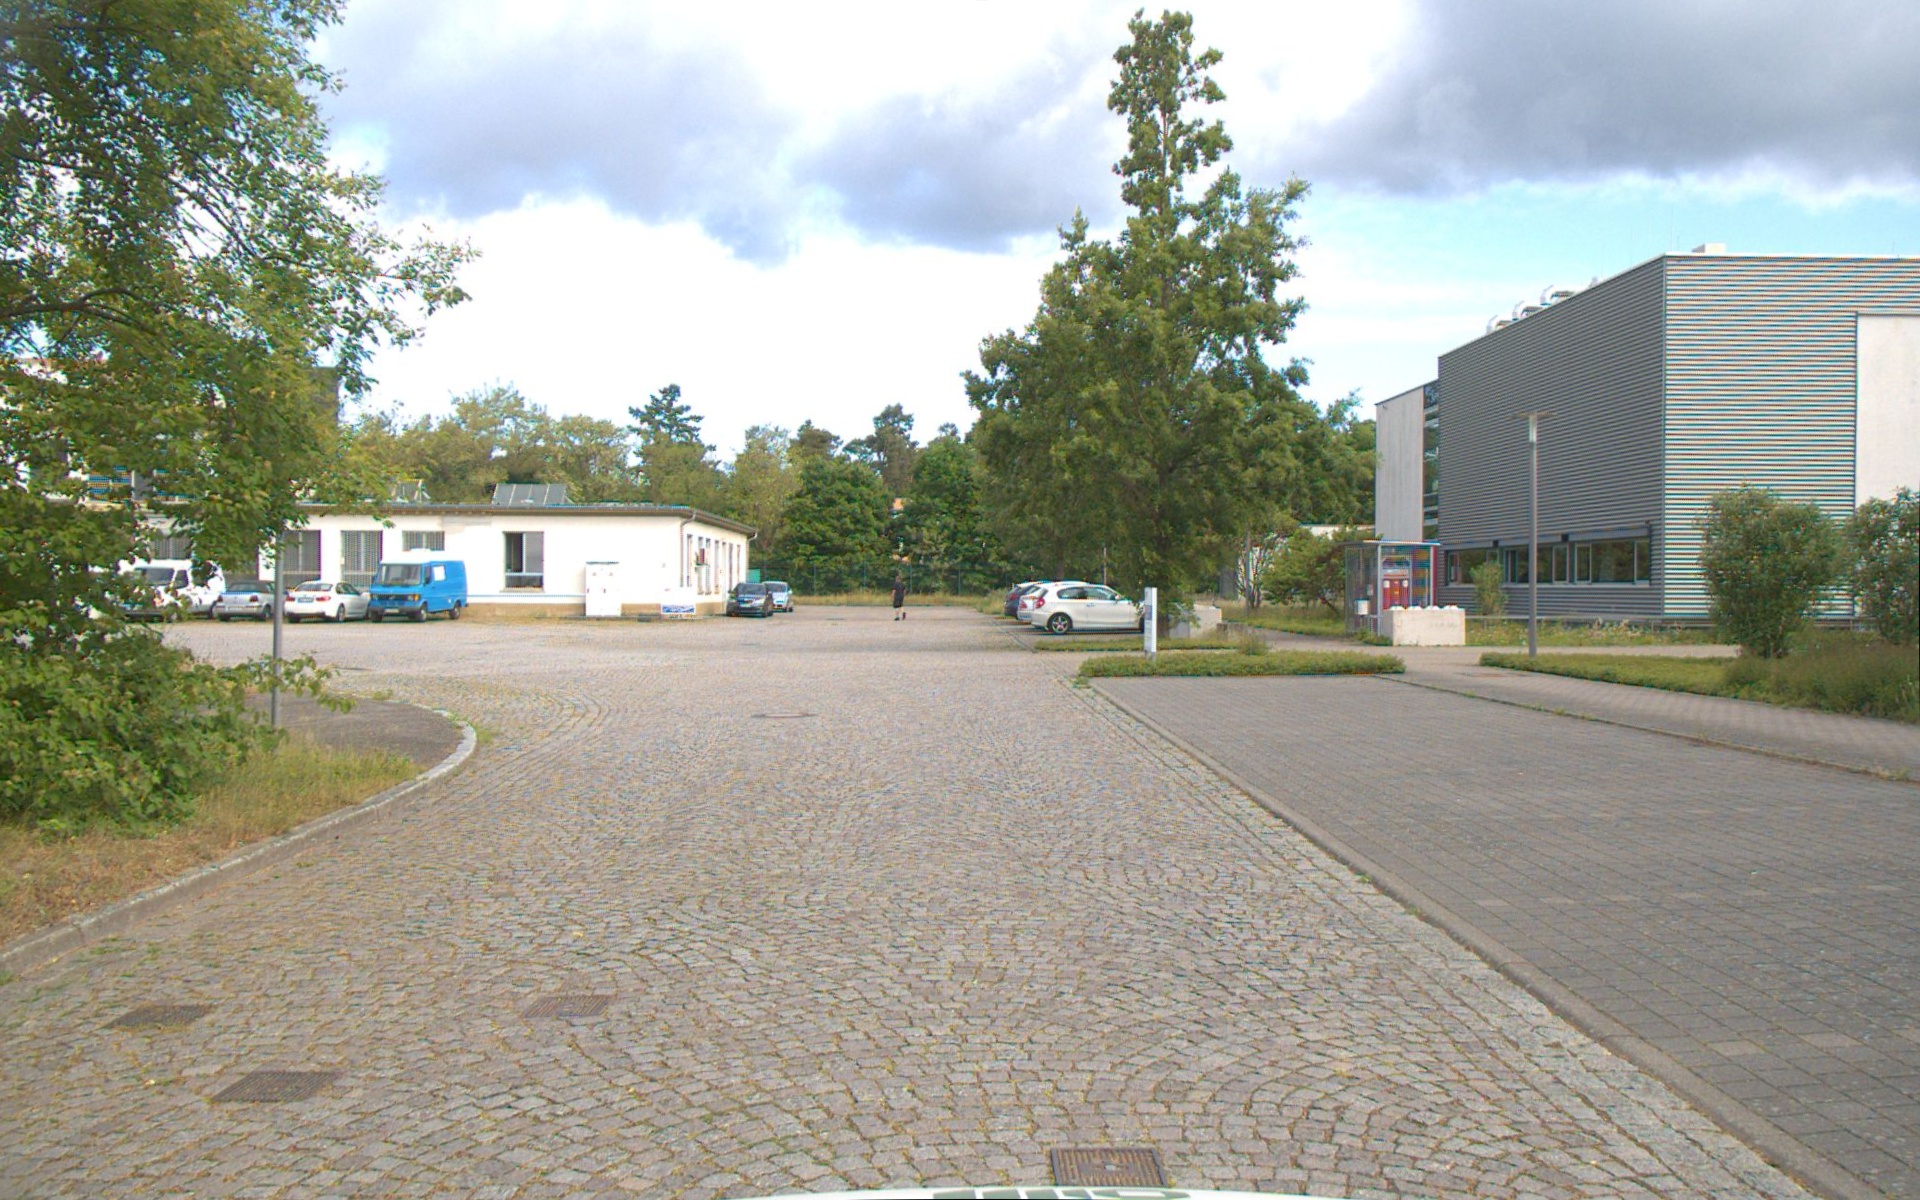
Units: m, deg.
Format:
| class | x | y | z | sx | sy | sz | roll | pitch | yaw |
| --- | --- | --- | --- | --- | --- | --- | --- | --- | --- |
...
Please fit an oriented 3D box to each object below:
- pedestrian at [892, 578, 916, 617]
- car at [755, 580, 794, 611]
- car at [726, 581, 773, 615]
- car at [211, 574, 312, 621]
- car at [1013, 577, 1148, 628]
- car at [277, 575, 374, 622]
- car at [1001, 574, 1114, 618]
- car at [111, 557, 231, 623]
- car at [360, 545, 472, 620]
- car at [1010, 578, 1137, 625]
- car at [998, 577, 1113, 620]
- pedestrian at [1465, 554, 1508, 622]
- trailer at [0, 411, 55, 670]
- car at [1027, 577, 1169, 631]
| class | x | y | z | sx | sy | sz | roll | pitch | yaw |
| --- | --- | --- | --- | --- | --- | --- | --- | --- | --- |
| pedestrian | -2.339 | -0.094 | 68.475 | 0.922 | 1.595 | 0.970 | 0 | 0 | -6 |
| car | -9.141 | -0.256 | 81.585 | 1.714 | 1.480 | 3.997 | 0 | 1 | -3 |
| car | -9.048 | -0.105 | 71.355 | 1.714 | 1.387 | 3.997 | 0 | 1 | -3 |
| car | -24.891 | -0.095 | 59.082 | 1.862 | 1.602 | 4.000 | 0 | 0 | 0 |
| car | 3.601 | 0.065 | 49.857 | 3.906 | 1.481 | 1.697 | 0 | 0 | -1 |
| car | -22.260 | -0.073 | 58.167 | 1.862 | 1.602 | 4.000 | 0 | 0 | 0 |
| car | 3.573 | -0.148 | 61.016 | 3.909 | 1.560 | 1.998 | 0 | 0 | -5 |
| car | -27.838 | -0.358 | 58.527 | 1.861 | 2.245 | 4.783 | 0 | 0 | 1 |
| car | -19.482 | -0.614 | 59.508 | 1.952 | 2.567 | 5.619 | 0 | 0 | 2 |
| car | 3.596 | 0.039 | 52.898 | 3.906 | 1.481 | 1.769 | 0 | 0 | -1 |
| car | 3.320 | -0.053 | 57.795 | 3.906 | 1.481 | 1.769 | 0 | 0 | -1 |
| pedestrian | 15.419 | -0.349 | 48.438 | 0.908 | 1.970 | 0.846 | 0 | 0 | -31 |
| trailer | -15.359 | -0.822 | 20.136 | 2.602 | 3.770 | 10.723 | 0 | 1 | 1 |
| car | 3.935 | 0.109 | 47.697 | 3.906 | 1.481 | 2.000 | 1 | 0 | -1 |
